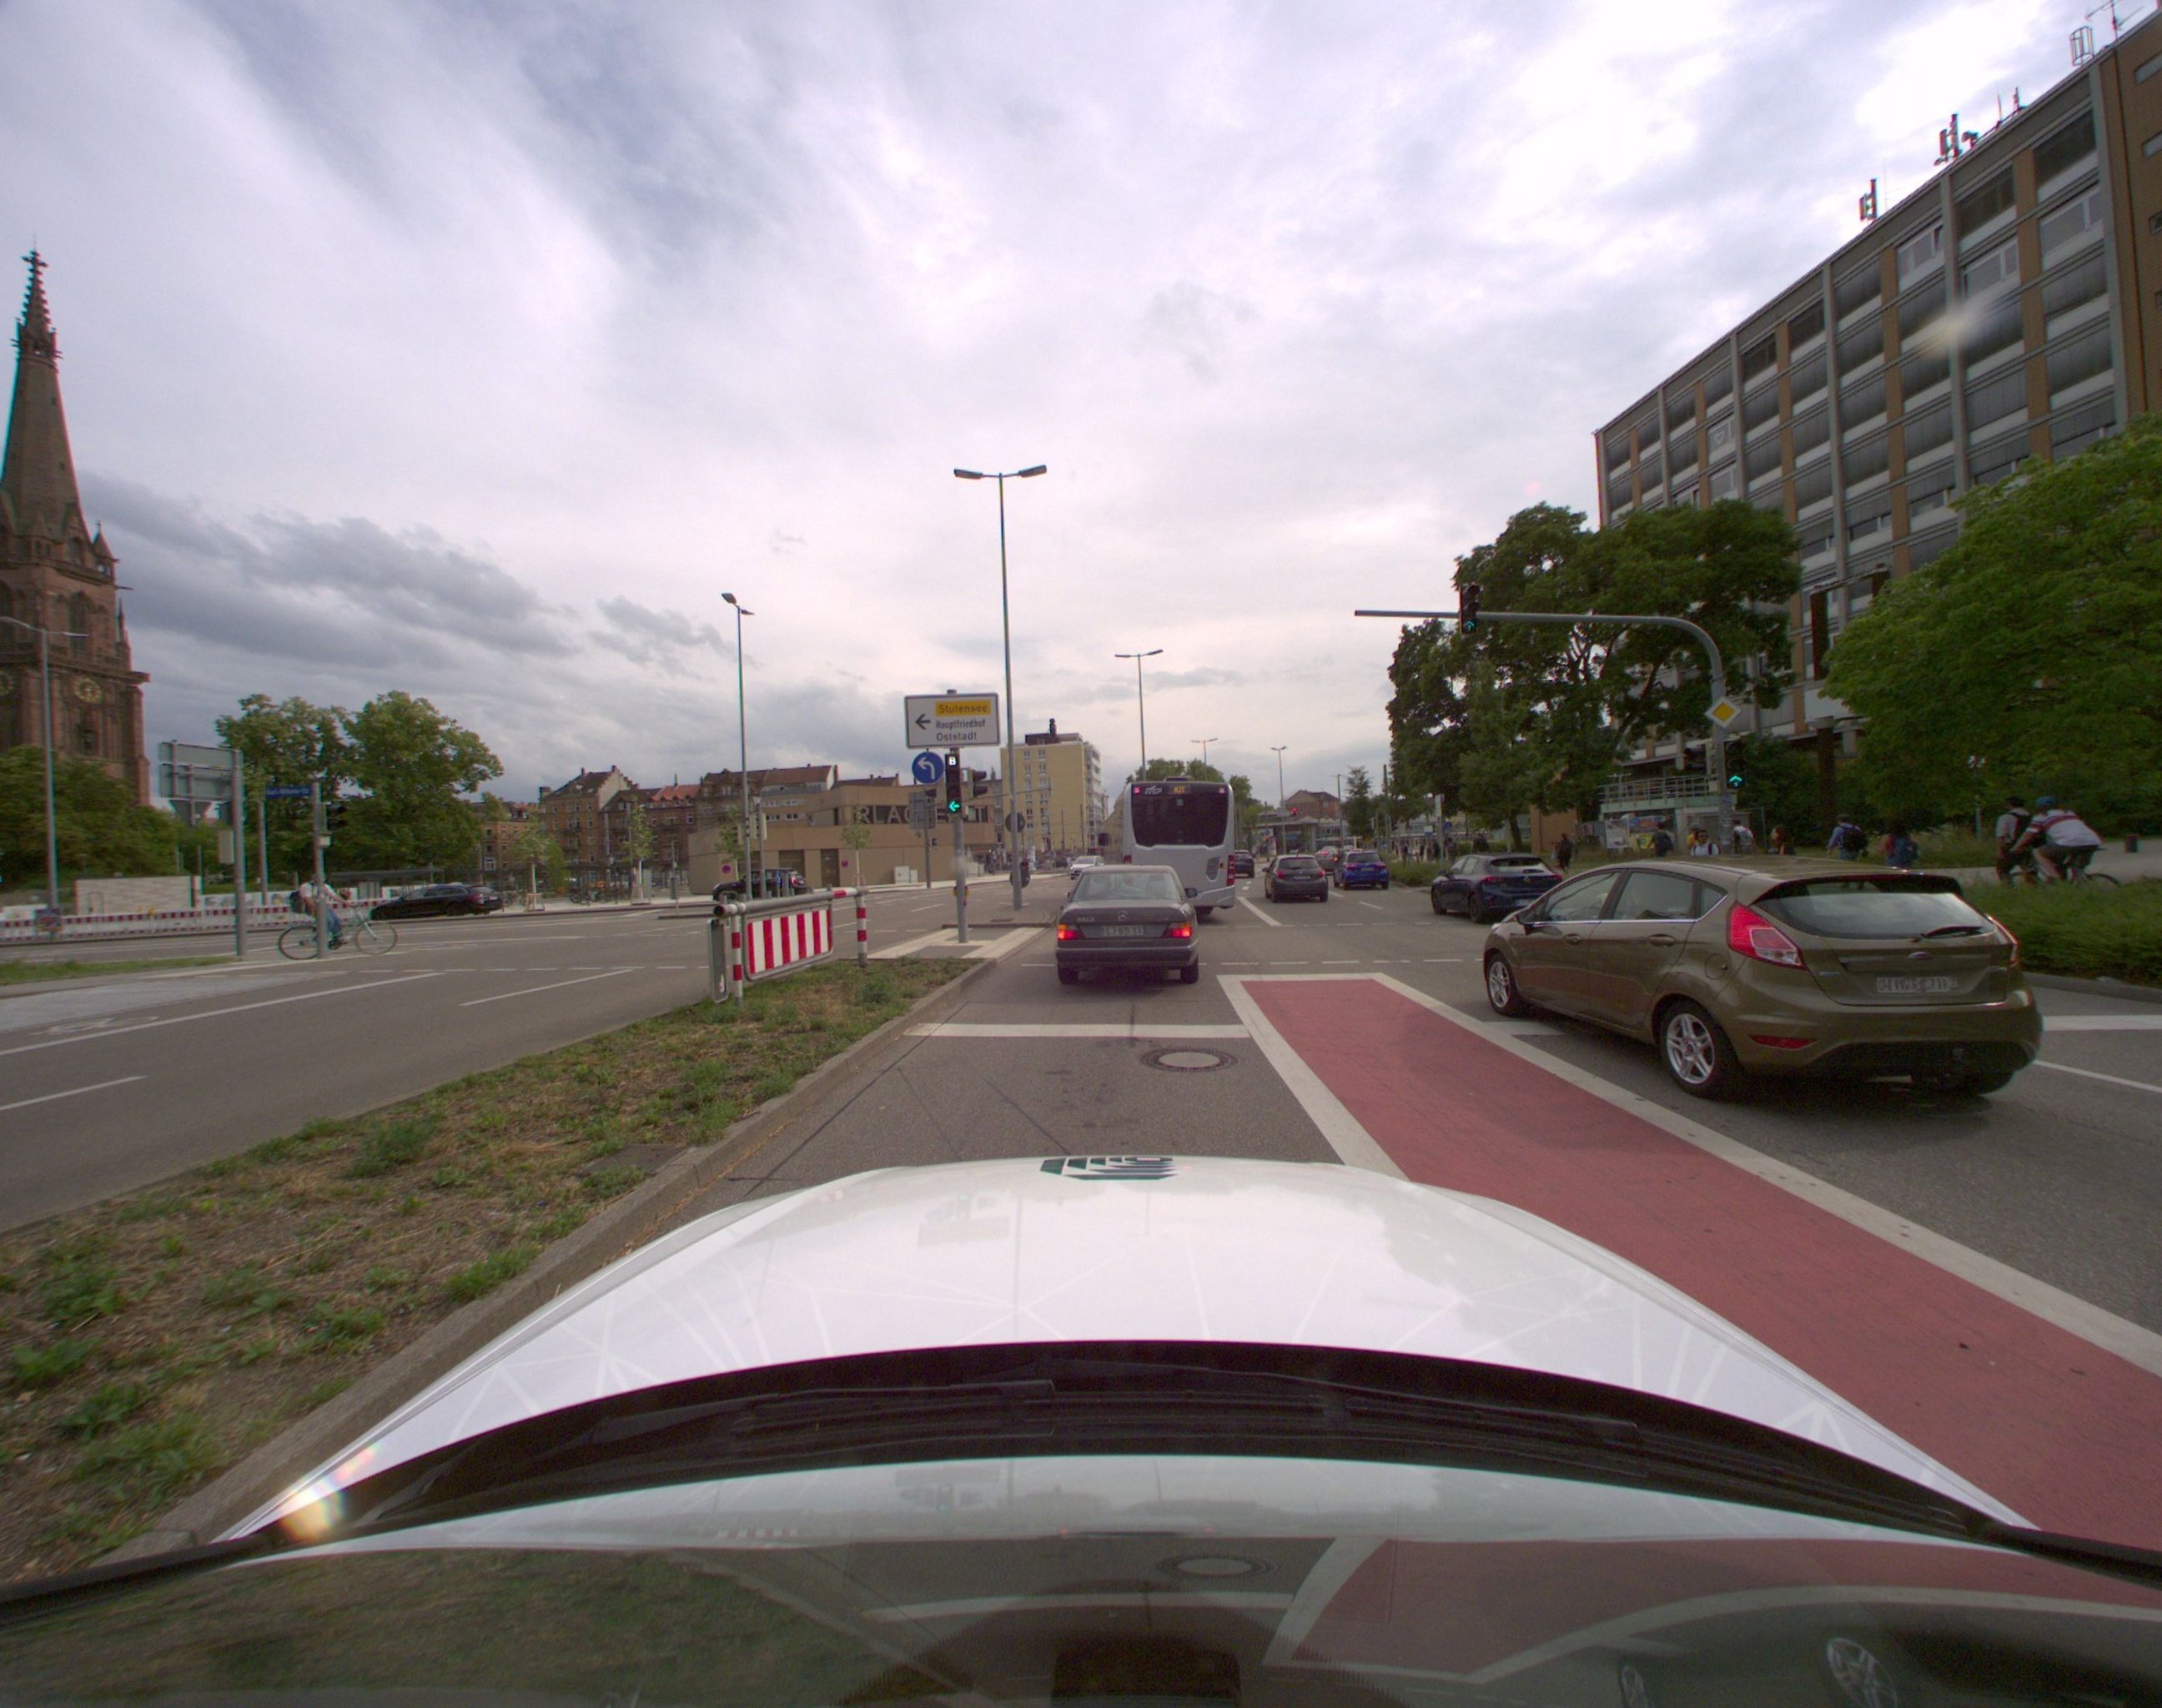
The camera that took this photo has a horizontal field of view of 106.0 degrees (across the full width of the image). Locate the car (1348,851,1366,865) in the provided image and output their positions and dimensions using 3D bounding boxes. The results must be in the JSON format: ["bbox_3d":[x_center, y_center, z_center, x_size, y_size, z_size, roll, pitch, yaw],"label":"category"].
[{"bbox_3d":[29.174,0.387,86.048,1.689,1.420,3.719,-1,-1,21],"label":"car"}]

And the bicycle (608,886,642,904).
[{"bbox_3d":[-31.531,2.815,56.280,0.577,1.156,1.978,-2,-1,44],"label":"bicycle"}]

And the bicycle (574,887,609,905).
[{"bbox_3d":[-33.142,2.827,55.138,0.577,1.156,1.978,-2,-1,44],"label":"bicycle"}]

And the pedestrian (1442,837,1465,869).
[{"bbox_3d":[20.134,-0.040,44.065,0.774,1.711,1.029,-1,-1,4],"label":"pedestrian"}]

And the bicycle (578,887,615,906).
[{"bbox_3d":[-31.470,2.777,52.948,0.577,1.156,1.978,-2,-1,44],"label":"bicycle"}]

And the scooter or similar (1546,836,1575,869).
[{"bbox_3d":[20.147,-0.059,34.257,0.397,1.370,1.144,-1,-1,-9],"label":"scooter or similar"}]

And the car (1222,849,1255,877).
[{"bbox_3d":[9.480,0.533,49.304,1.824,1.615,3.554,-1,-1,9],"label":"car"}]

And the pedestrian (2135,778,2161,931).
[{"bbox_3d":[12.421,-0.003,8.950,0.729,1.711,0.694,-1,-1,4],"label":"pedestrian"}]

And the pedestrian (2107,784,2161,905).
[{"bbox_3d":[15.691,-0.133,11.596,0.833,1.711,1.014,-1,-1,4],"label":"pedestrian"}]

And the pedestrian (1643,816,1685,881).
[{"bbox_3d":[17.124,-0.154,23.936,0.635,1.852,0.709,-3,-1,4],"label":"pedestrian"}]

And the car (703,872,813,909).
[{"bbox_3d":[-14.088,1.579,35.707,3.976,1.486,1.998,-1,-1,-2],"label":"car"}]

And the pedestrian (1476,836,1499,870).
[{"bbox_3d":[21.029,-0.043,42.151,0.774,1.711,0.813,-1,-1,4],"label":"pedestrian"}]

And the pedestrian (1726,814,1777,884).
[{"bbox_3d":[16.926,-0.111,20.577,0.635,1.711,0.709,-2,-1,4],"label":"pedestrian"}]

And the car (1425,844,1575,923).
[{"bbox_3d":[8.863,0.593,17.570,1.658,1.508,3.640,-1,-1,6],"label":"car"}]

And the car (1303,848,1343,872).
[{"bbox_3d":[15.229,0.356,51.158,2.114,1.420,3.719,-1,-1,21],"label":"car"}]

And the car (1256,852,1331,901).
[{"bbox_3d":[6.776,0.698,26.360,1.702,1.420,4.005,-1,-1,5],"label":"car"}]

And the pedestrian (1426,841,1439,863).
[{"bbox_3d":[26.890,-0.144,62.320,0.770,1.574,0.817,-4,-1,26],"label":"pedestrian"}]

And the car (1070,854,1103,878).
[{"bbox_3d":[0.429,0.868,58.610,1.984,1.651,4.295,-1,-1,5],"label":"car"}]

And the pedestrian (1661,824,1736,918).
[{"bbox_3d":[11.661,0.315,15.409,0.793,1.711,0.841,-1,-1,6],"label":"pedestrian"}]

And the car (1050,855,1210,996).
[{"bbox_3d":[0.552,0.789,10.912,1.689,1.480,4.416,-1,-1,1],"label":"car"}]

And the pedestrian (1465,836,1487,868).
[{"bbox_3d":[21.413,-0.109,44.155,0.774,1.711,0.813,-1,-1,4],"label":"pedestrian"}]

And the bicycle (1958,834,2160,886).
[{"bbox_3d":[14.400,0.092,12.088,0.837,0.694,1.847,-1,-1,4],"label":"bicycle"}]

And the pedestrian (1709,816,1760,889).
[{"bbox_3d":[15.710,-0.029,19.597,0.635,1.711,0.709,-1,-1,4],"label":"pedestrian"}]

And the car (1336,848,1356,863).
[{"bbox_3d":[25.920,0.171,79.515,1.689,1.420,3.719,-1,-1,21],"label":"car"}]

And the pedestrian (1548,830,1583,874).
[{"bbox_3d":[18.335,-0.067,30.848,0.774,1.574,0.813,-4,-1,4],"label":"pedestrian"}]

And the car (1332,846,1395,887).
[{"bbox_3d":[11.225,0.493,32.583,1.846,1.533,4.014,-1,-1,11],"label":"car"}]

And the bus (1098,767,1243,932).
[{"bbox_3d":[2.108,-0.026,24.920,2.696,3.438,14.181,-4,-1,0],"label":"bus"}]

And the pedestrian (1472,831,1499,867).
[{"bbox_3d":[19.485,-0.241,39.241,0.774,1.711,1.029,-1,-1,4],"label":"pedestrian"}]

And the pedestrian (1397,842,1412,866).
[{"bbox_3d":[22.033,0.025,55.518,0.770,1.574,0.817,-4,-1,26],"label":"pedestrian"}]

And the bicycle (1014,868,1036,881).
[{"bbox_3d":[-3.751,1.374,54.924,0.857,0.876,2.526,-1,-1,10],"label":"bicycle"}]

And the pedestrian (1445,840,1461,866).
[{"bbox_3d":[23.199,-0.075,50.734,0.770,1.574,0.817,-4,-1,26],"label":"pedestrian"}]

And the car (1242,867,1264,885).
[{"bbox_3d":[14.485,1.791,68.400,1.699,1.420,4.013,-1,-1,12],"label":"car"}]

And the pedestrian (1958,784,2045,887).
[{"bbox_3d":[15.705,-0.306,13.910,0.635,1.711,0.709,-1,-1,4],"label":"pedestrian"}]

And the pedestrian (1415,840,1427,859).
[{"bbox_3d":[28.845,-0.361,69.031,0.770,1.574,0.817,-4,-1,26],"label":"pedestrian"}]

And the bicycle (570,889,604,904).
[{"bbox_3d":[-34.651,2.964,57.110,1.977,0.970,0.577,0,-1,-41],"label":"bicycle"}]

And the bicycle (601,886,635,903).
[{"bbox_3d":[-32.552,2.841,57.293,0.577,1.156,1.978,-2,-1,44],"label":"bicycle"}]

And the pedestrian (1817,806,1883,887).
[{"bbox_3d":[17.003,-0.160,18.022,0.635,1.711,0.709,-4,-1,4],"label":"pedestrian"}]

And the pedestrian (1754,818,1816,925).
[{"bbox_3d":[11.453,0.283,13.264,0.477,1.711,0.589,-1,-1,6],"label":"pedestrian"}]

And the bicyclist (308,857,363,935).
[{"bbox_3d":[-15.346,0.847,16.759,0.572,1.555,0.803,-4,-3,44],"label":"bicyclist"}]

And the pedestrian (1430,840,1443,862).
[{"bbox_3d":[26.463,-0.233,60.594,0.770,1.574,0.817,-4,-1,26],"label":"pedestrian"}]

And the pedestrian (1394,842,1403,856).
[{"bbox_3d":[35.695,-0.566,91.618,0.770,1.574,0.817,-4,-1,26],"label":"pedestrian"}]

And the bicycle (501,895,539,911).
[{"bbox_3d":[-36.895,3.243,53.580,1.977,0.955,0.577,0,-1,-41],"label":"bicycle"}]

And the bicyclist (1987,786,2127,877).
[{"bbox_3d":[14.396,-0.311,12.052,0.833,1.277,1.014,-1,-1,4],"label":"bicyclist"}]

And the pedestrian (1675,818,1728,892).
[{"bbox_3d":[14.980,0.033,19.667,0.635,1.711,0.709,-3,-1,4],"label":"pedestrian"}]

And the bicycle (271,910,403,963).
[{"bbox_3d":[-15.252,1.672,16.750,0.499,0.936,1.983,-4,-3,44],"label":"bicycle"}]

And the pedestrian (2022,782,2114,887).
[{"bbox_3d":[16.566,-0.316,13.689,0.635,1.711,0.709,-1,-1,4],"label":"pedestrian"}]

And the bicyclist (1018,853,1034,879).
[{"bbox_3d":[-3.715,0.809,55.064,0.861,1.669,0.883,-1,-1,10],"label":"bicyclist"}]

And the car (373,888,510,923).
[{"bbox_3d":[-27.413,2.195,35.032,4.248,1.361,1.999,-1,-1,-2],"label":"car"}]

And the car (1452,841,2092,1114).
[{"bbox_3d":[4.471,0.667,6.126,1.689,1.405,3.700,-1,-1,1],"label":"car"}]

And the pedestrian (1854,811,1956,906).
[{"bbox_3d":[14.317,0.081,14.179,0.833,1.543,0.800,-5,-1,3],"label":"pedestrian"}]

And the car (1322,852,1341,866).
[{"bbox_3d":[27.288,0.524,88.782,1.696,1.420,4.020,-1,-1,21],"label":"car"}]
